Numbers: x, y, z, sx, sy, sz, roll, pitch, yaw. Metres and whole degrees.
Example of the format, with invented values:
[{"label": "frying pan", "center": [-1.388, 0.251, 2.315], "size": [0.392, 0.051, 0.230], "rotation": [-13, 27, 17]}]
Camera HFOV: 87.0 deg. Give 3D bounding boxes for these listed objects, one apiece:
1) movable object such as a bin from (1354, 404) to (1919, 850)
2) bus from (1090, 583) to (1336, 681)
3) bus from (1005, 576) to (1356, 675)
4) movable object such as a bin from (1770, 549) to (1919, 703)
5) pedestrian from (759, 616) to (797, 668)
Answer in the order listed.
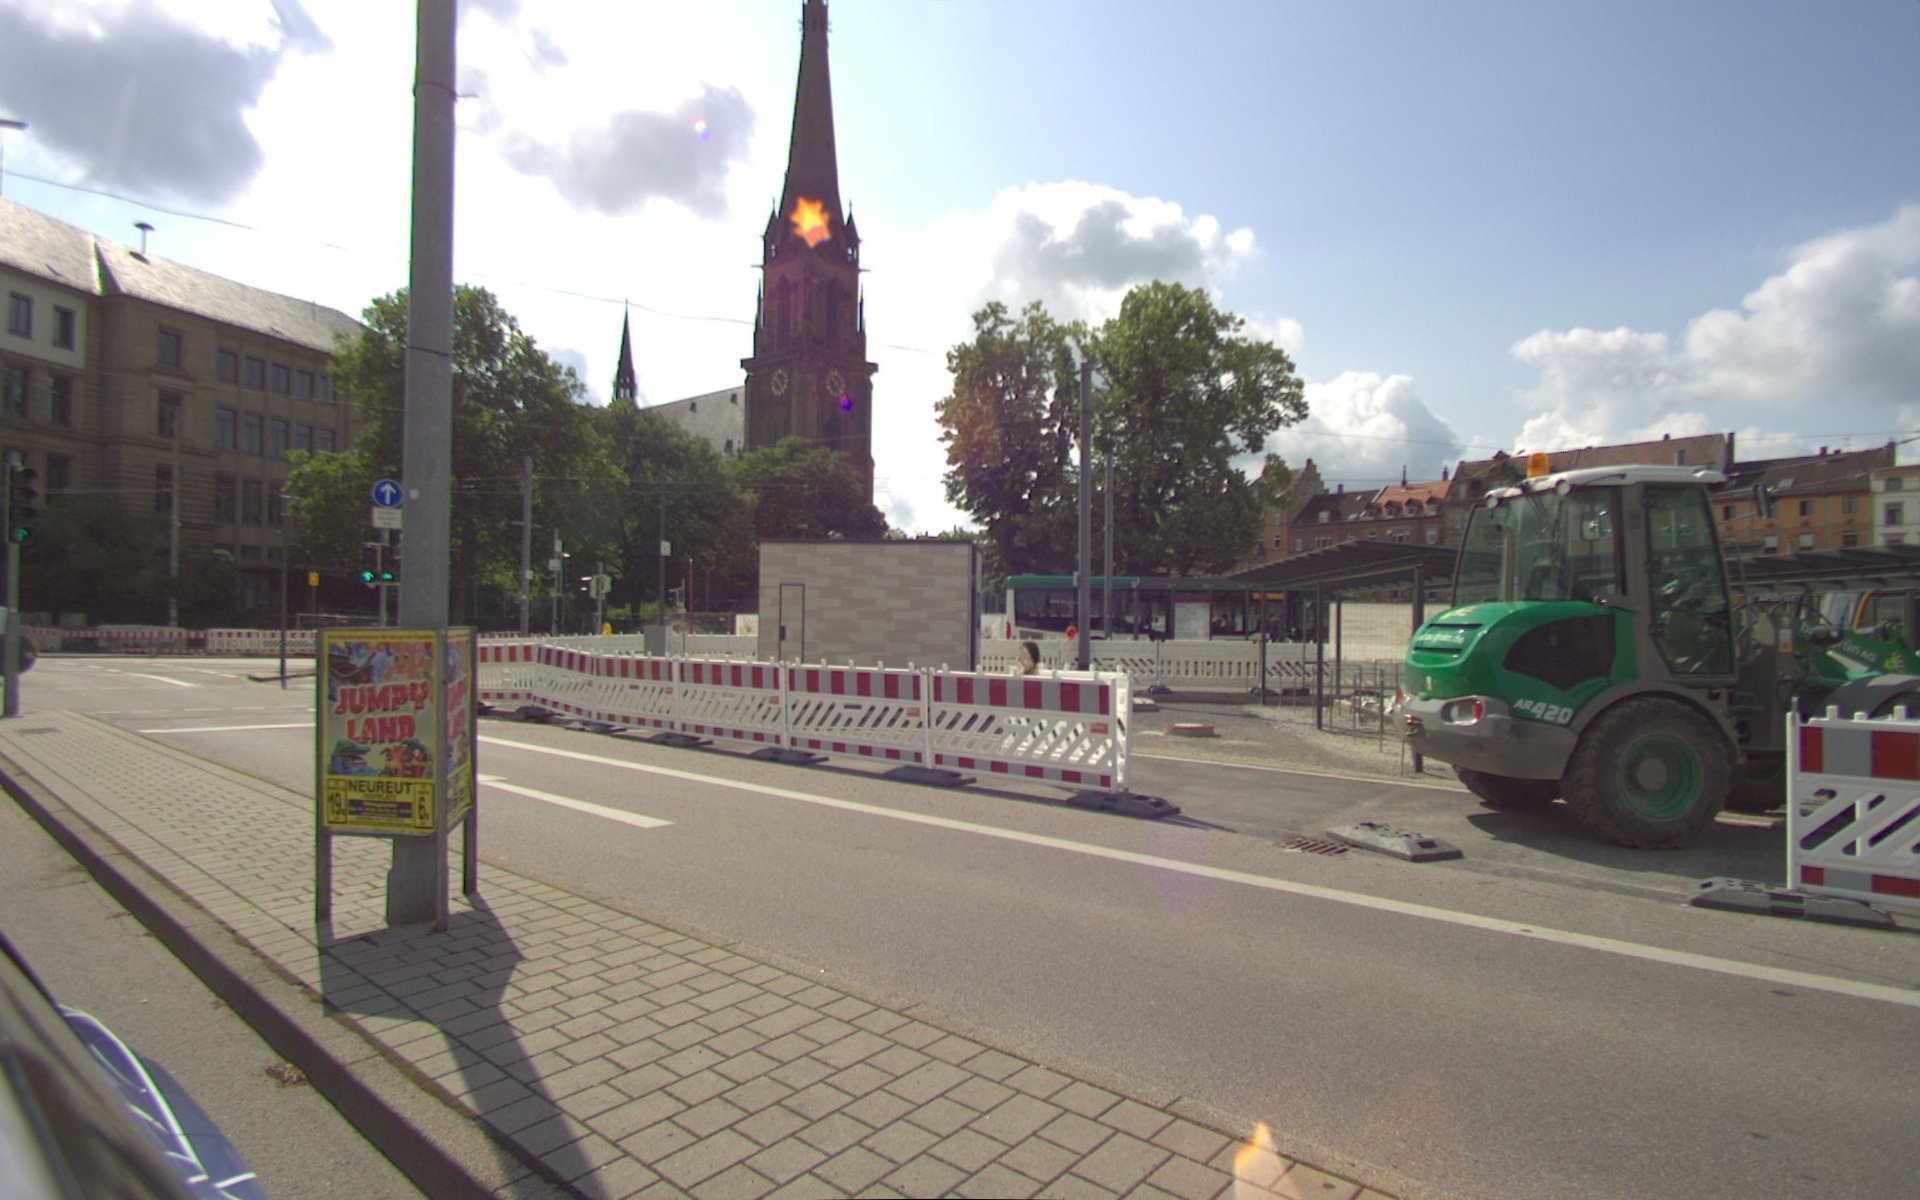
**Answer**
[{"label": "movable object such as a bin", "center": [5.665, 0.222, 7.856], "size": [4.386, 2.972, 2.001], "rotation": [1, -2, -2]}, {"label": "bus", "center": [8.220, 1.041, 33.689], "size": [7.669, 3.081, 2.369], "rotation": [0, -2, 7]}, {"label": "bus", "center": [7.688, 0.902, 36.573], "size": [11.929, 3.287, 2.987], "rotation": [0, -2, 7]}, {"label": "movable object such as a bin", "center": [25.199, 0.643, 23.575], "size": [9.574, 3.450, 3.014], "rotation": [0, -2, 8]}, {"label": "pedestrian", "center": [-6.242, 1.432, 34.761], "size": [0.834, 1.719, 1.202], "rotation": [0, -2, 13]}]
